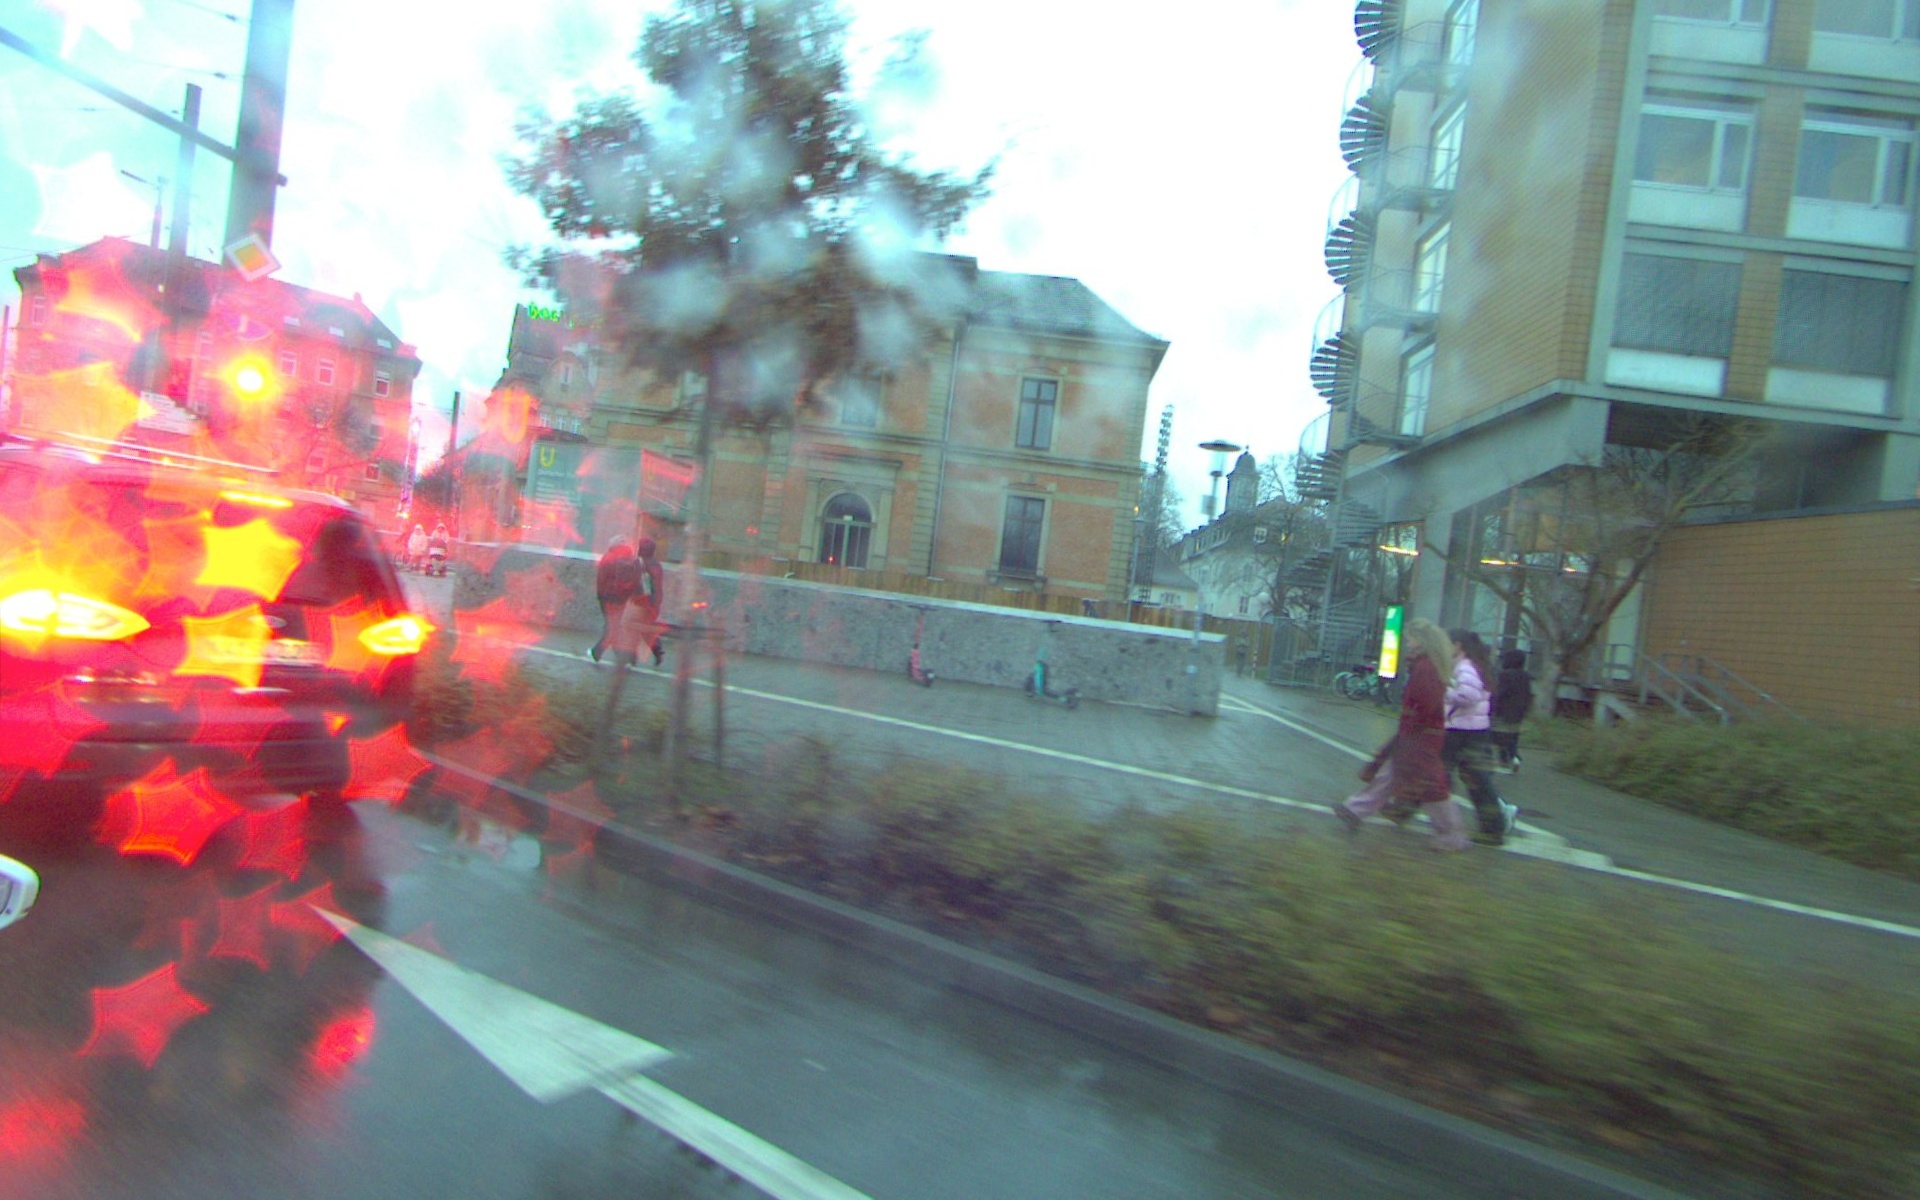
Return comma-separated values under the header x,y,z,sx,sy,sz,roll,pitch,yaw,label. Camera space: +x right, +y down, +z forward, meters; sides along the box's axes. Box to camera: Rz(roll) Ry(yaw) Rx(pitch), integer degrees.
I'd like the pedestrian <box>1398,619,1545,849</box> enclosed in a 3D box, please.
x,y,z,sx,sy,sz,roll,pitch,yaw,label
4.111,1.060,8.109,0.662,1.711,0.606,4,4,-33,pedestrian

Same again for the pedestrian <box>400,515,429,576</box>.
x,y,z,sx,sy,sz,roll,pitch,yaw,label
-18.696,-1.865,34.483,0.671,1.975,0.656,6,1,-30,pedestrian

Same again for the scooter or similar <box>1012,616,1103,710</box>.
x,y,z,sx,sy,sz,roll,pitch,yaw,label
1.425,0.918,14.966,0.509,1.229,1.372,6,1,-31,scooter or similar

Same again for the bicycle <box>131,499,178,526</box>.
x,y,z,sx,sy,sz,roll,pitch,yaw,label
-52.393,-5.698,65.474,2.182,1.393,0.693,7,1,-28,bicycle

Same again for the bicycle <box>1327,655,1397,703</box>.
x,y,z,sx,sy,sz,roll,pitch,yaw,label
11.378,2.234,28.459,1.764,1.116,0.390,7,1,-6,bicycle

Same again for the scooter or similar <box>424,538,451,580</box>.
x,y,z,sx,sy,sz,roll,pitch,yaw,label
-17.747,-1.400,34.144,0.671,1.334,0.820,6,1,-30,scooter or similar

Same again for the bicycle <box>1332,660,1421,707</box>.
x,y,z,sx,sy,sz,roll,pitch,yaw,label
11.334,2.264,27.411,2.021,1.004,0.708,7,1,7,bicycle

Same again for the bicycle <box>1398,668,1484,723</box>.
x,y,z,sx,sy,sz,roll,pitch,yaw,label
11.849,2.352,24.803,1.761,1.116,0.401,7,1,7,bicycle

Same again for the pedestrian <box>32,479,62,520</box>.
x,y,z,sx,sy,sz,roll,pitch,yaw,label
-48.824,-5.360,53.785,0.774,2.039,0.731,7,1,3,pedestrian

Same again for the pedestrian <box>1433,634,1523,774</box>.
x,y,z,sx,sy,sz,roll,pitch,yaw,label
7.180,1.414,13.992,0.735,1.814,0.854,7,1,14,pedestrian

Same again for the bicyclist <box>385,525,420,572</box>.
x,y,z,sx,sy,sz,roll,pitch,yaw,label
-20.220,-1.859,36.490,0.685,1.595,0.776,7,1,37,bicyclist

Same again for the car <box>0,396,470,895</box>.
x,y,z,sx,sy,sz,roll,pitch,yaw,label
-4.847,0.022,5.547,4.353,1.822,1.779,8,0,34,car

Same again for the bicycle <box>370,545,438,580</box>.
x,y,z,sx,sy,sz,roll,pitch,yaw,label
-20.216,-1.357,36.593,0.685,0.993,2.007,7,0,36,bicycle

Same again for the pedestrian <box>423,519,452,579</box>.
x,y,z,sx,sy,sz,roll,pitch,yaw,label
-18.074,-1.761,34.789,0.671,1.975,0.656,6,1,-30,pedestrian

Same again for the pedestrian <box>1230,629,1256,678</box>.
x,y,z,sx,sy,sz,roll,pitch,yaw,label
10.256,1.918,36.471,0.651,1.678,0.789,7,1,12,pedestrian

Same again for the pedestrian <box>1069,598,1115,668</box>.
x,y,z,sx,sy,sz,roll,pitch,yaw,label
3.475,0.857,26.551,0.901,1.726,0.801,7,1,-2,pedestrian

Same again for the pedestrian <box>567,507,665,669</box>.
x,y,z,sx,sy,sz,roll,pitch,yaw,label
-4.495,-0.163,13.117,0.802,1.954,0.753,8,2,-33,pedestrian

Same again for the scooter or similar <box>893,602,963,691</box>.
x,y,z,sx,sy,sz,roll,pitch,yaw,label
-0.521,0.692,15.548,0.507,1.229,1.375,6,0,-22,scooter or similar

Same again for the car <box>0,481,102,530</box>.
x,y,z,sx,sy,sz,roll,pitch,yaw,label
-41.505,-4.295,44.690,1.713,1.677,4.801,7,0,34,car

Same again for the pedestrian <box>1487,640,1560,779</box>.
x,y,z,sx,sy,sz,roll,pitch,yaw,label
7.774,1.494,13.895,0.549,1.814,0.584,7,1,14,pedestrian

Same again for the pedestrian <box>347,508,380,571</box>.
x,y,z,sx,sy,sz,roll,pitch,yaw,label
-19.690,-1.979,33.236,0.669,1.975,0.673,6,1,-22,pedestrian

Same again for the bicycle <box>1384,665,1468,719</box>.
x,y,z,sx,sy,sz,roll,pitch,yaw,label
11.773,2.308,25.462,1.761,1.116,0.442,7,1,7,bicycle

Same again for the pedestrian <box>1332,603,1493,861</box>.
x,y,z,sx,sy,sz,roll,pitch,yaw,label
3.420,0.968,7.636,0.579,1.805,0.762,4,2,-33,pedestrian

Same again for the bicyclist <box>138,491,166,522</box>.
x,y,z,sx,sy,sz,roll,pitch,yaw,label
-52.516,-6.079,65.406,1.059,1.791,1.043,6,1,-27,bicyclist

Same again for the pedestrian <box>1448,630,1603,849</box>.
x,y,z,sx,sy,sz,roll,pitch,yaw,label
4.826,1.170,8.604,0.713,1.709,0.753,6,1,-34,pedestrian

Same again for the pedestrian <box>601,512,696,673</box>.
x,y,z,sx,sy,sz,roll,pitch,yaw,label
-4.259,-0.105,13.730,0.802,2.038,0.753,8,2,-33,pedestrian
